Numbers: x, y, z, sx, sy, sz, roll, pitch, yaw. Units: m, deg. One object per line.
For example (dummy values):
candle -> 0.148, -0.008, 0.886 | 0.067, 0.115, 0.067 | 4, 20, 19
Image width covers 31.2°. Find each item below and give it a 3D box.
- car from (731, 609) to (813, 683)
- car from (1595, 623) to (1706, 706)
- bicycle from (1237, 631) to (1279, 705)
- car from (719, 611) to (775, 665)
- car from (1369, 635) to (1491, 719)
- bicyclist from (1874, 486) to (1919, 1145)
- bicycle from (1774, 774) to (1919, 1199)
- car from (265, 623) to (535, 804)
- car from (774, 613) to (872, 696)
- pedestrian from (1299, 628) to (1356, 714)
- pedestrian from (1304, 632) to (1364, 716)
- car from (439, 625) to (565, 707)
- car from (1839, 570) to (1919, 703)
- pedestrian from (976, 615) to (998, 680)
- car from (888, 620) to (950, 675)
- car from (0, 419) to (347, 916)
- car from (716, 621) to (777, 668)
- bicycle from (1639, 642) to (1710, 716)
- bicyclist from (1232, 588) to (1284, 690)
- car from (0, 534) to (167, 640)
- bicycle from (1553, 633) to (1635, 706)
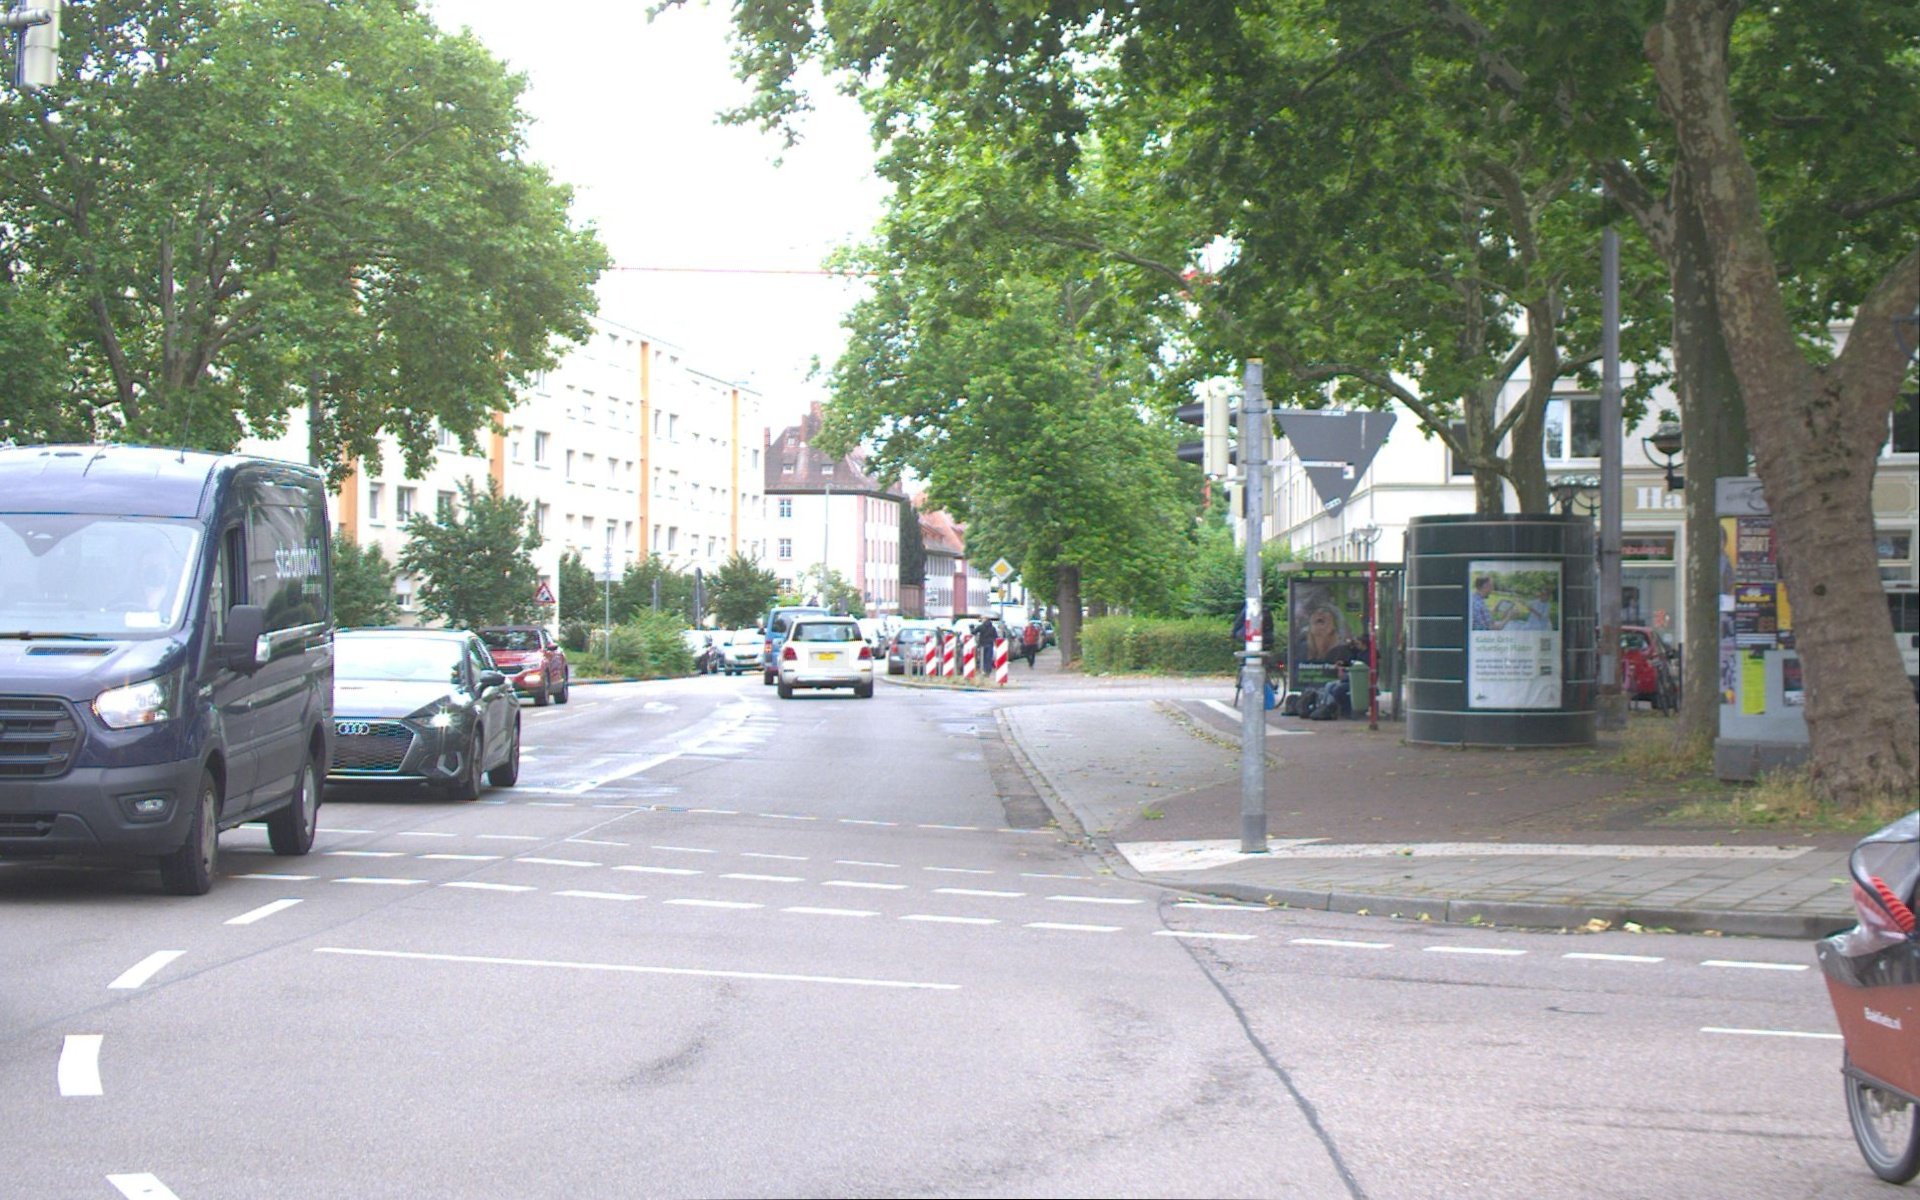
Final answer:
car -> -4.791, 1.153, 87.988 | 1.993, 1.842, 4.000 | 0, 0, -2
car -> 12.241, 1.115, 60.834 | 1.516, 1.423, 3.996 | 0, 0, 17
bicycle -> 5.119, 1.157, 59.180 | 0.417, 1.238, 1.927 | 0, 0, -4
car -> -7.692, 1.364, 124.350 | 1.767, 1.905, 4.000 | 0, 0, 0
car -> 8.415, 1.344, 61.358 | 1.516, 1.423, 3.996 | 0, 0, 17
bicyclist -> 2.560, 0.495, 7.695 | 0.685, 1.512, 1.058 | 0, 0, -4
bicycle -> 2.447, 0.978, 7.849 | 0.494, 1.095, 2.139 | 0, -1, -5
car -> -4.761, 0.922, 29.751 | 1.808, 1.422, 4.317 | 0, 0, -2
car -> -2.713, 1.058, 68.799 | 1.815, 1.586, 4.000 | 0, 0, 0
pedestrian -> 5.877, 1.133, 55.045 | 0.817, 1.367, 0.762 | 0, 0, 0
pedestrian -> 5.886, 1.159, 54.132 | 0.853, 1.310, 0.762 | 0, 0, 0
car -> -8.654, 1.227, 65.272 | 1.853, 1.448, 4.167 | 0, 0, 0
car -> 16.434, 0.606, 58.586 | 2.177, 2.193, 3.995 | 0, 0, 24
pedestrian -> 0.697, 1.224, 88.715 | 0.550, 1.679, 0.570 | 0, 0, -2
car -> -1.202, 1.393, 102.057 | 1.815, 1.586, 4.000 | 0, 0, 0
car -> -4.989, 0.332, 19.689 | 2.134, 2.442, 5.579 | 0, 0, -2
car -> -6.983, 1.455, 112.774 | 1.767, 1.481, 4.000 | 0, 0, 0
bicycle -> 11.619, 1.264, 55.875 | 0.623, 1.164, 2.330 | 0, 0, 25
bicyclist -> 5.145, 0.670, 59.398 | 0.760, 1.753, 0.820 | 0, 0, -4
car -> -15.484, -0.211, 57.359 | 3.986, 1.700, 2.000 | 1, -1, -29
bicycle -> 10.395, 1.125, 56.310 | 0.779, 1.164, 2.330 | 0, 0, 25
